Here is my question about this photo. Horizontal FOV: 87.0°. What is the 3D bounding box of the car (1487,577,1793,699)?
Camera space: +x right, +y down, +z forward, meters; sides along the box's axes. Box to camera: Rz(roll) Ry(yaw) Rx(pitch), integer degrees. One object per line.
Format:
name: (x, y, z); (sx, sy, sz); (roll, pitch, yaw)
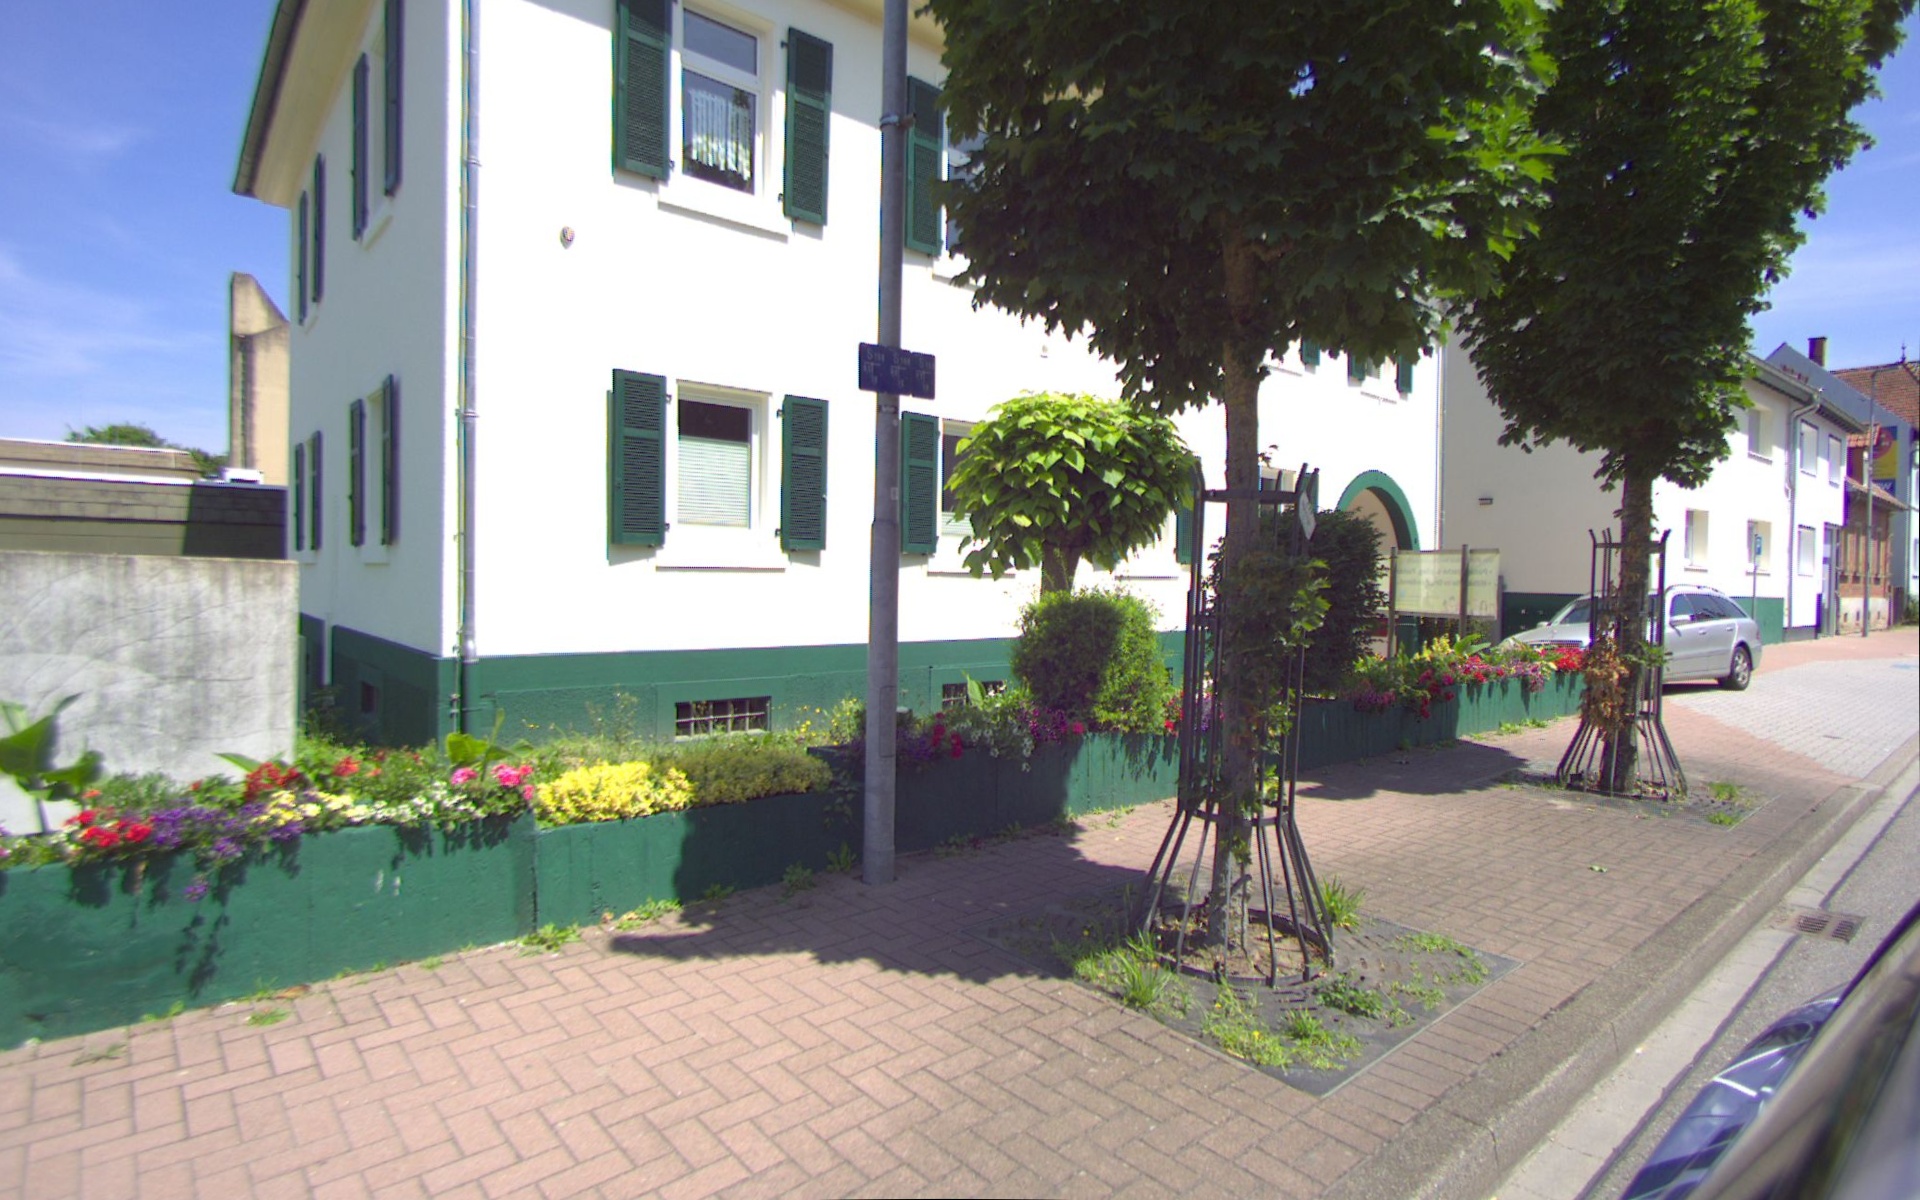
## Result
car: (9.798, 0.480, 14.463); (4.790, 1.482, 1.821); (-1, -3, -33)
